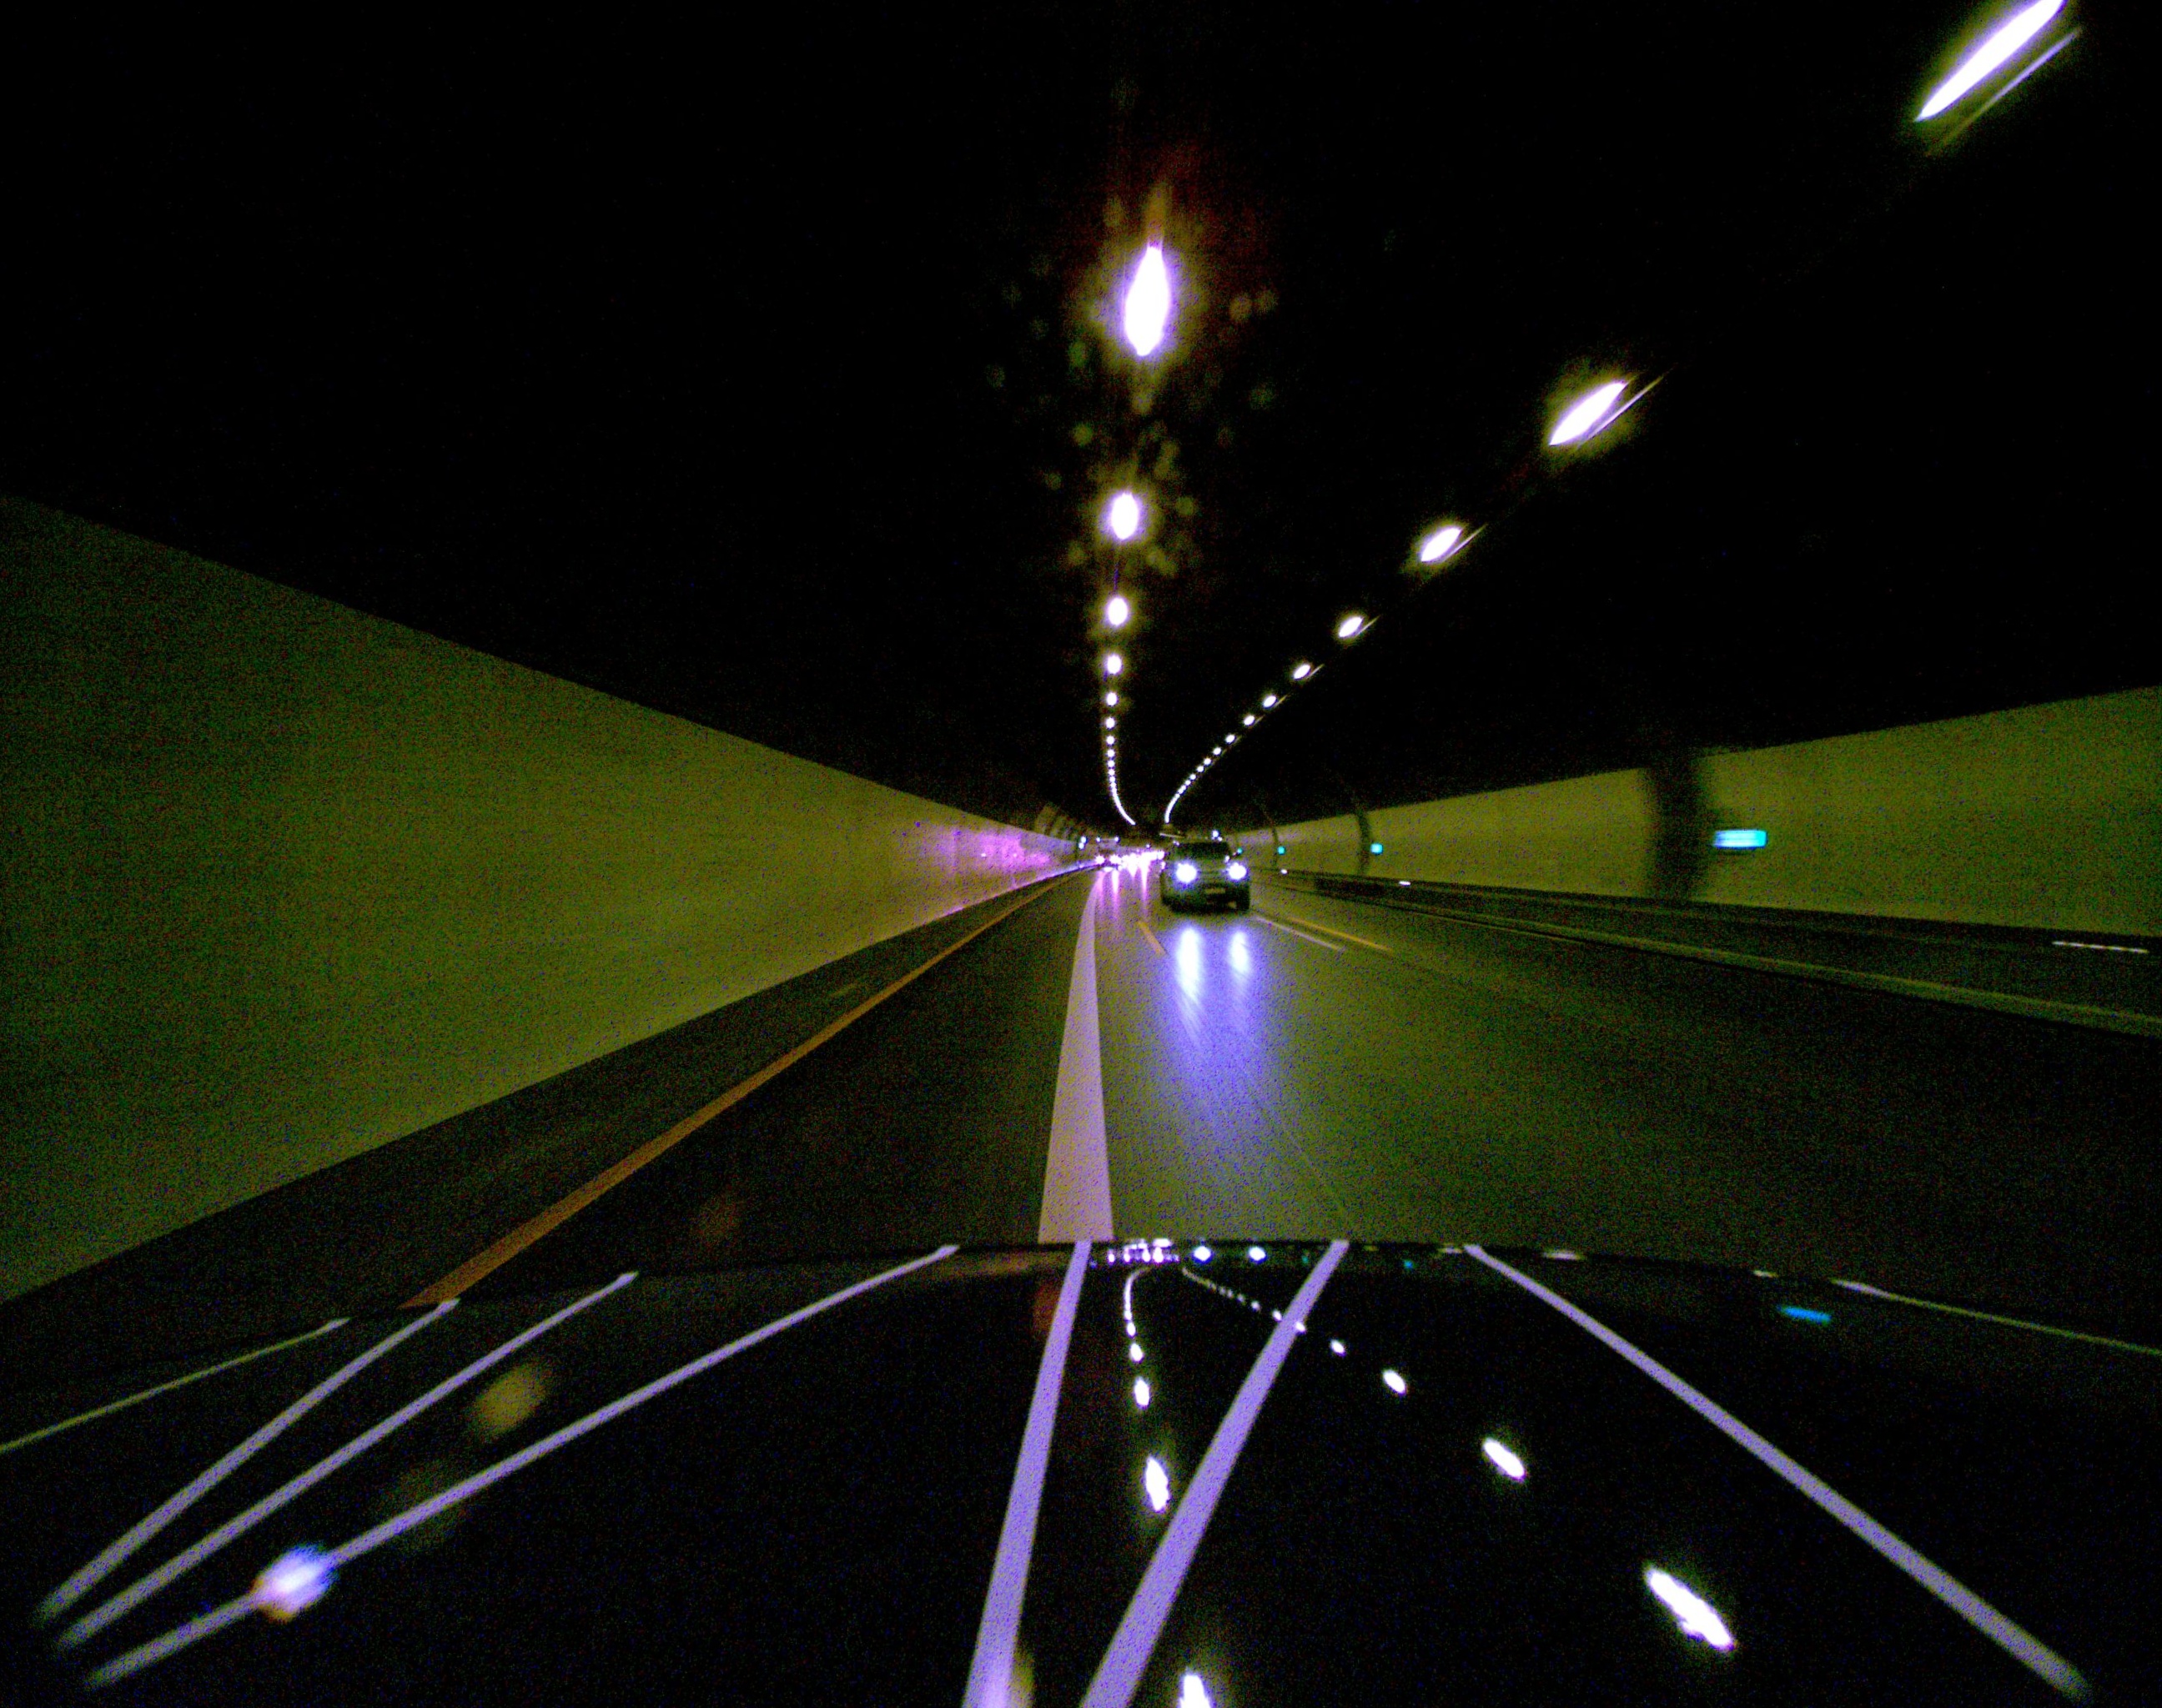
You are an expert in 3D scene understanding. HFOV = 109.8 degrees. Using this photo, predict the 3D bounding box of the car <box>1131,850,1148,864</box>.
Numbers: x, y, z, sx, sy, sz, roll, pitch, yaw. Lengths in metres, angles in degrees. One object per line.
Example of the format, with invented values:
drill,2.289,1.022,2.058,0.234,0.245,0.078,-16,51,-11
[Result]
car,7.516,0.401,97.434,2.171,1.709,4.482,-2,0,5

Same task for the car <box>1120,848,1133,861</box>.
car,7.555,0.050,126.701,1.998,2.002,4.000,-2,0,2

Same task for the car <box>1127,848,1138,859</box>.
car,10.505,-0.112,154.902,1.997,2.002,4.002,-2,0,7

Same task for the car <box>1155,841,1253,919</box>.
car,3.262,0.631,21.230,1.998,1.884,5.453,0,0,2

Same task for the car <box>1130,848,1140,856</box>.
car,12.323,-0.462,174.090,1.998,1.917,4.385,-1,0,2

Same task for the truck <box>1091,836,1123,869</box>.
truck,2.751,-0.168,79.275,2.988,3.161,10.509,-2,0,2
